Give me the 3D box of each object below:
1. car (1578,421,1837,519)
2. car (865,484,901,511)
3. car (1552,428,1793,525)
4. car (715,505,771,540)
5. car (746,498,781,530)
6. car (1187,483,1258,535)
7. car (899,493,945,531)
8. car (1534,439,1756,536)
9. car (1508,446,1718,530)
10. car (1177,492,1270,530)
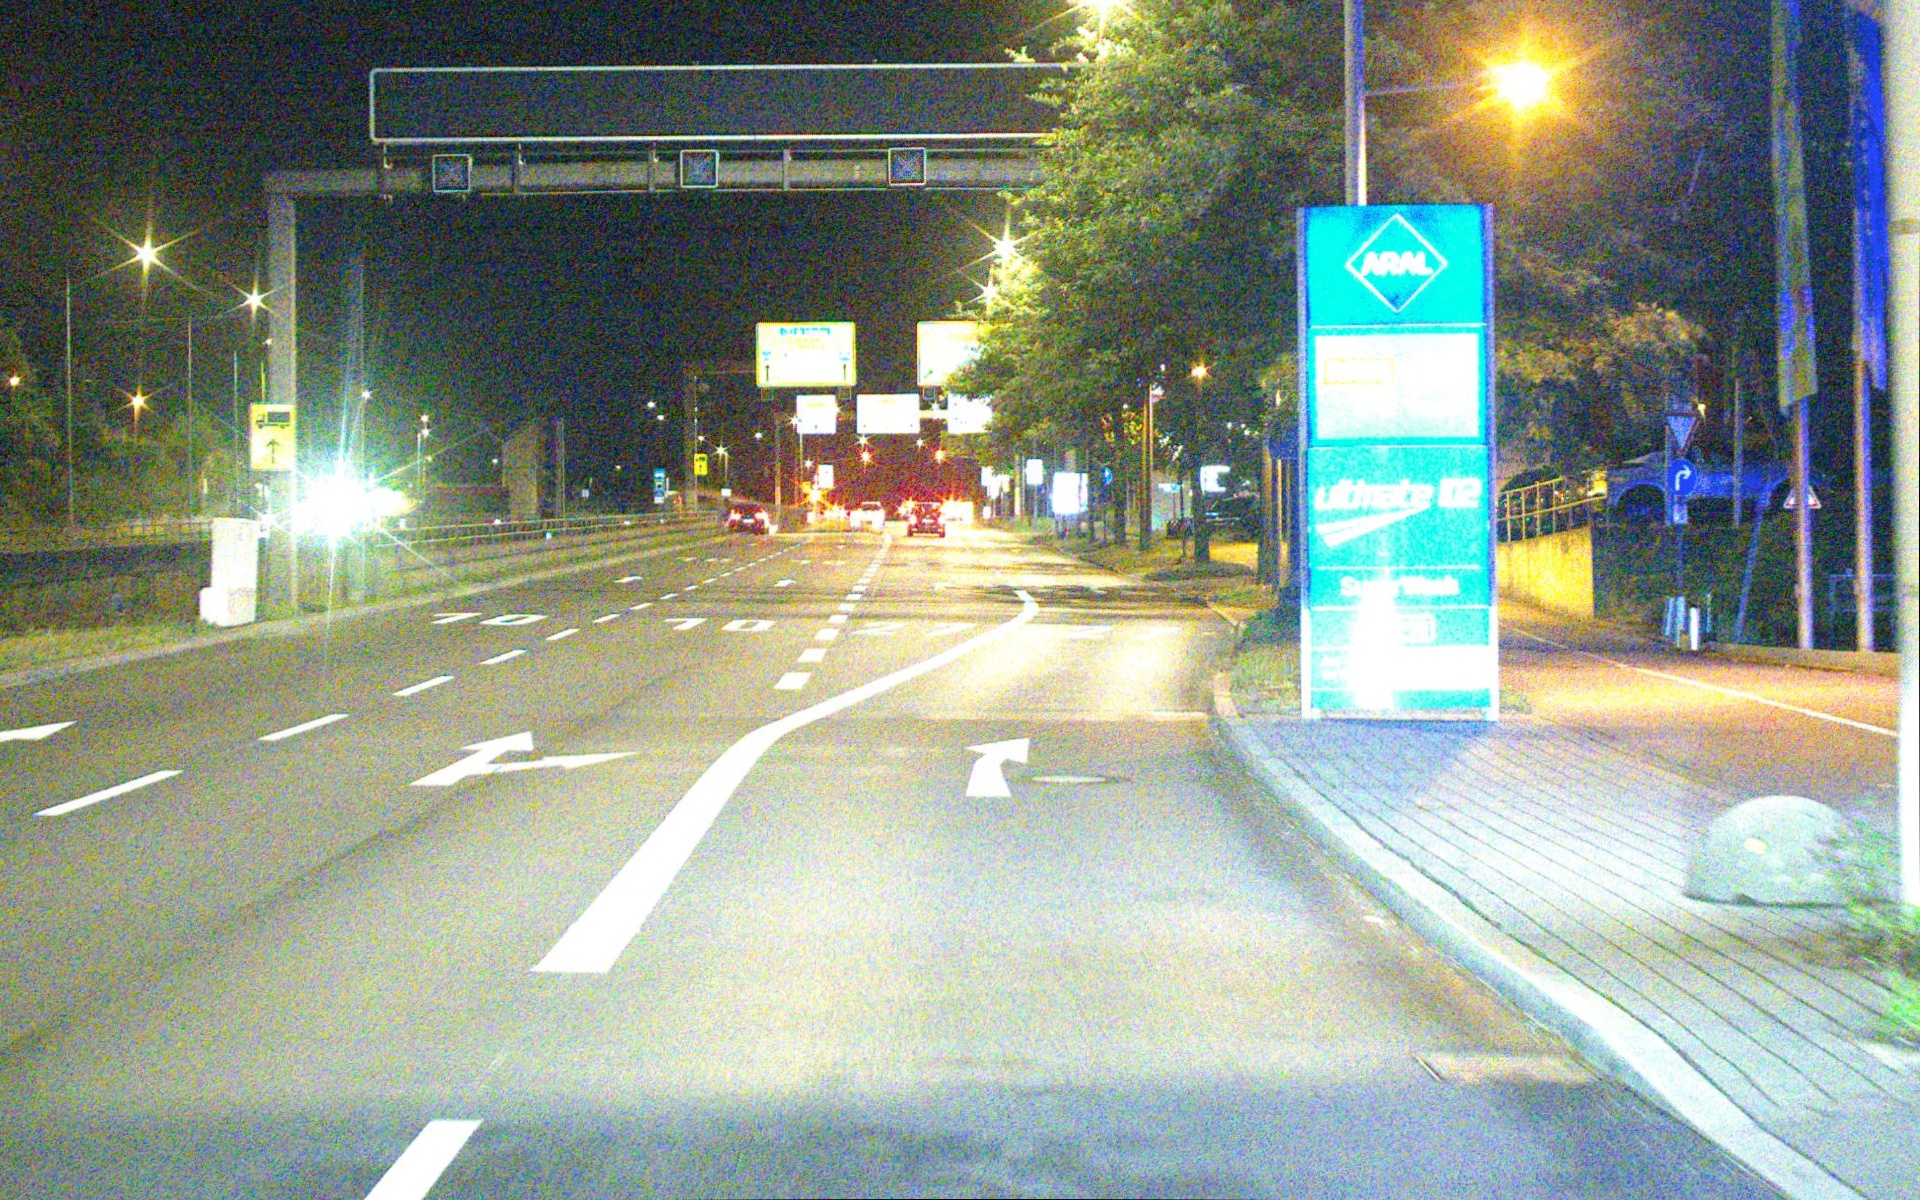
[{"bbox_3d":[13.069,-2.271,60.299,4.119,1.517,1.822,-1,-1,1],"label":"car"},{"bbox_3d":[-4.863,-6.462,217.208,2.005,1.546,4.295,1,0,2],"label":"car"},{"bbox_3d":[12.931,-2.228,62.524,3.987,1.566,1.738,-2,0,1],"label":"car"},{"bbox_3d":[-10.962,-3.896,173.333,1.967,1.705,4.001,1,0,-16],"label":"car"},{"bbox_3d":[-11.256,-4.933,197.085,1.782,1.705,4.001,1,0,-6],"label":"car"},{"bbox_3d":[10.583,-3.643,138.423,1.995,1.938,3.997,1,0,17],"label":"car"},{"bbox_3d":[-1.805,-4.173,163.589,1.968,1.705,4.000,1,0,2],"label":"car"},{"bbox_3d":[12.939,-2.119,65.085,3.747,1.582,1.780,-3,0,-2],"label":"car"},{"bbox_3d":[12.822,-2.189,67.619,3.724,1.484,1.742,-2,0,-2],"label":"car"},{"bbox_3d":[10.975,-3.721,143.533,3.624,1.446,1.708,1,0,-4],"label":"car"}]
